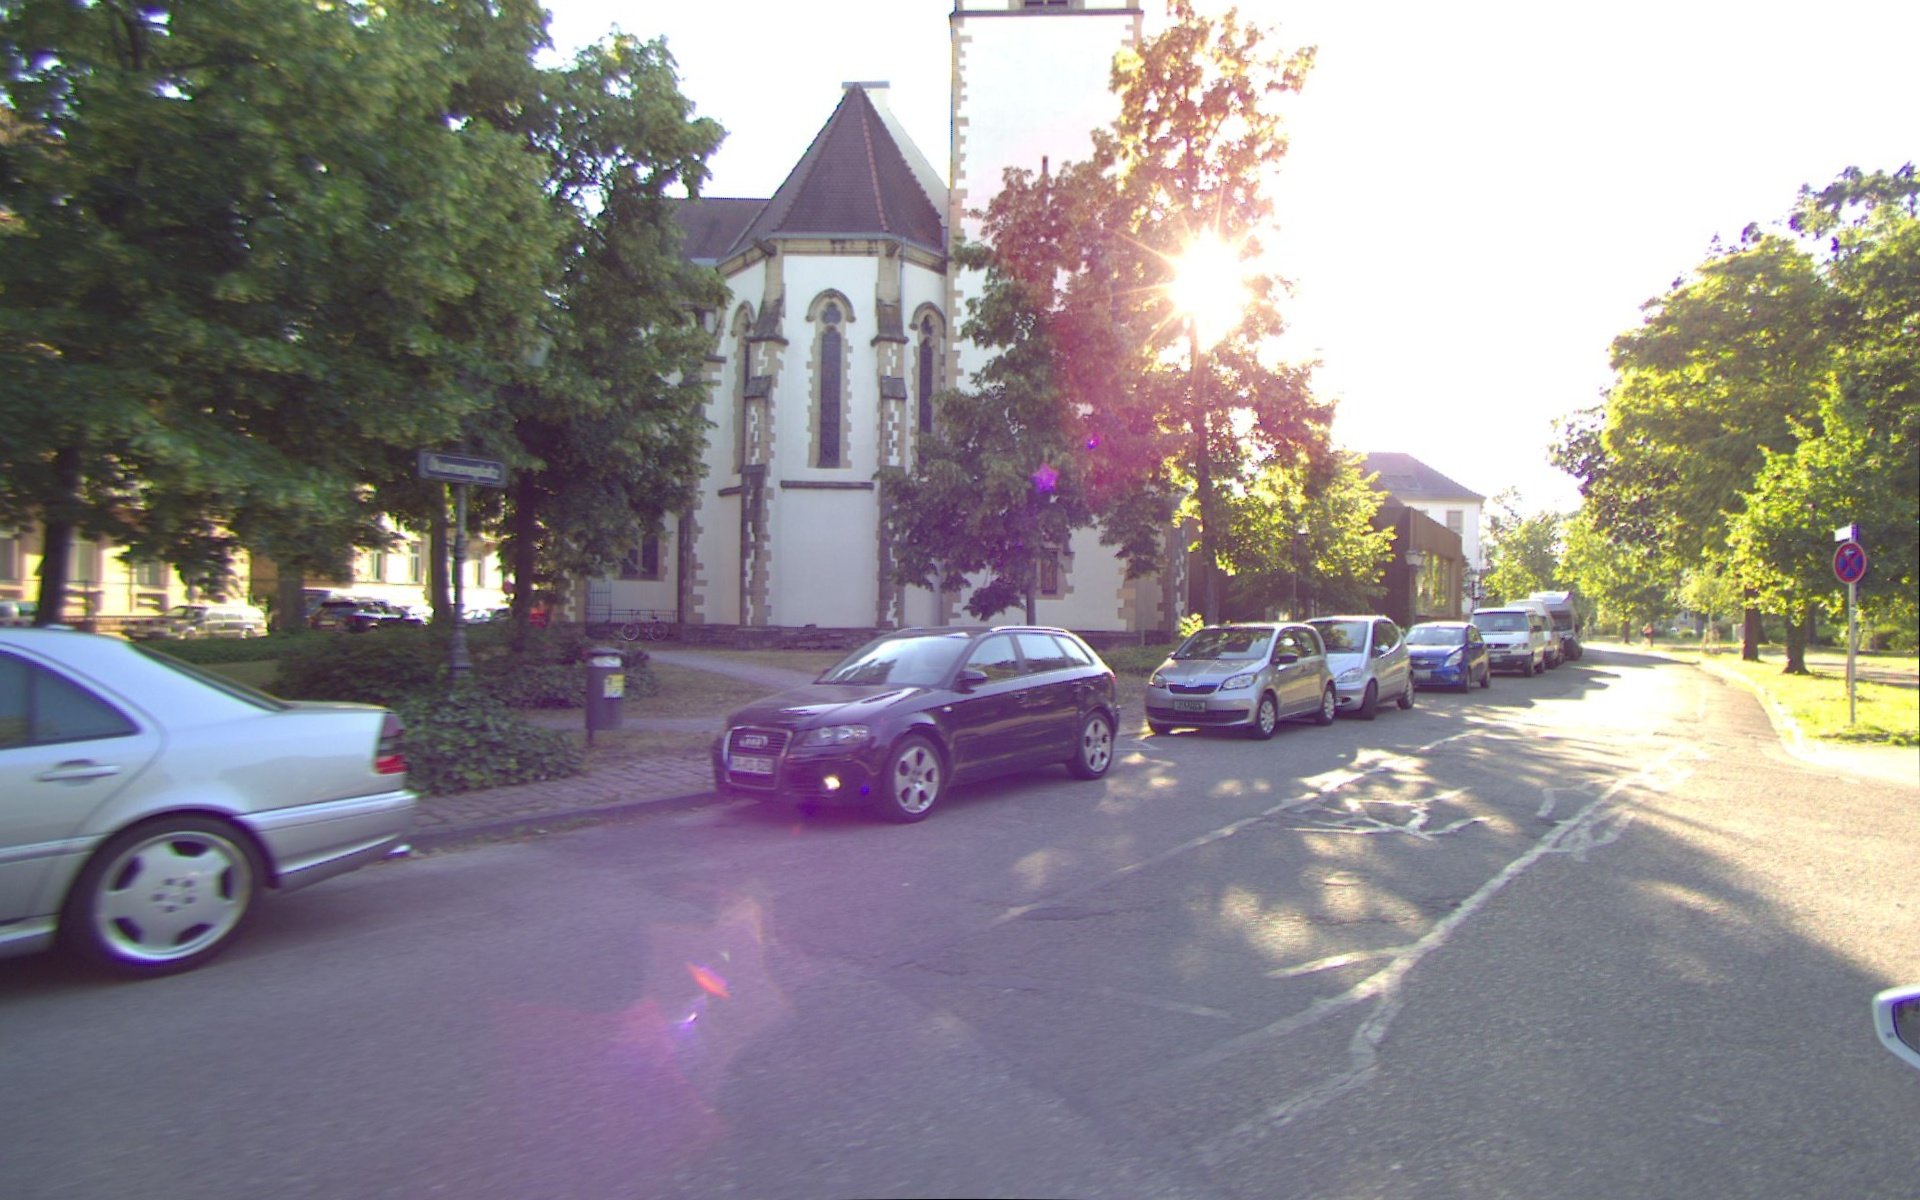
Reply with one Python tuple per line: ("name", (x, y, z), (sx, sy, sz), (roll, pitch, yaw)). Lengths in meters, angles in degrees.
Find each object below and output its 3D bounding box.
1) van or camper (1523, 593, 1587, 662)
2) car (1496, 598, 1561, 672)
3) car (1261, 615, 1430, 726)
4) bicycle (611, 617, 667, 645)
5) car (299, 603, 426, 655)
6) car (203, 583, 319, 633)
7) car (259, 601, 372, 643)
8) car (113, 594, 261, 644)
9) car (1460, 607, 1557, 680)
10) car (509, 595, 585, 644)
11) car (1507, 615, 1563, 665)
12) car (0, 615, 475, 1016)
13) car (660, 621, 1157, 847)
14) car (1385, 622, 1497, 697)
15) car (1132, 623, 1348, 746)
("van or camper", (27.209, 1.231, 45.853), (2.062, 2.946, 6.312), (1, -1, 35))
("car", (20.245, 1.196, 35.666), (1.825, 2.387, 5.174), (1, -1, 32))
("car", (6.506, 1.075, 16.747), (1.683, 1.600, 3.683), (1, -1, 37))
("bicycle", (-11.386, 1.104, 35.641), (1.846, 0.930, 0.423), (1, 0, 5))
("car", (-20.866, 1.002, 35.305), (1.854, 1.677, 4.221), (1, -1, 1))
("car", (-33.163, 0.399, 47.734), (4.136, 2.291, 1.892), (1, -1, 1))
("car", (-27.425, 0.913, 42.923), (1.960, 1.677, 4.221), (1, -1, 2))
("car", (-27.967, 0.691, 36.536), (1.960, 1.677, 4.221), (1, -1, 2))
("car", (16.343, 1.241, 29.791), (1.827, 1.972, 4.822), (1, -1, 37))
("car", (-20.202, 0.943, 49.360), (1.854, 2.291, 4.221), (1, -1, 1))
("car", (23.252, 1.573, 40.544), (1.825, 1.911, 4.134), (1, -1, 32))
("car", (-4.470, 0.790, 3.763), (1.760, 1.434, 4.474), (-2, -3, 41))
("car", (-0.159, 0.923, 8.713), (1.802, 1.434, 4.476), (-2, -3, 38))
("car", (11.006, 1.287, 22.873), (1.595, 1.521, 3.683), (1, -1, 37))
("car", (3.947, 1.050, 13.816), (1.593, 1.459, 3.590), (-1, -2, 38))
